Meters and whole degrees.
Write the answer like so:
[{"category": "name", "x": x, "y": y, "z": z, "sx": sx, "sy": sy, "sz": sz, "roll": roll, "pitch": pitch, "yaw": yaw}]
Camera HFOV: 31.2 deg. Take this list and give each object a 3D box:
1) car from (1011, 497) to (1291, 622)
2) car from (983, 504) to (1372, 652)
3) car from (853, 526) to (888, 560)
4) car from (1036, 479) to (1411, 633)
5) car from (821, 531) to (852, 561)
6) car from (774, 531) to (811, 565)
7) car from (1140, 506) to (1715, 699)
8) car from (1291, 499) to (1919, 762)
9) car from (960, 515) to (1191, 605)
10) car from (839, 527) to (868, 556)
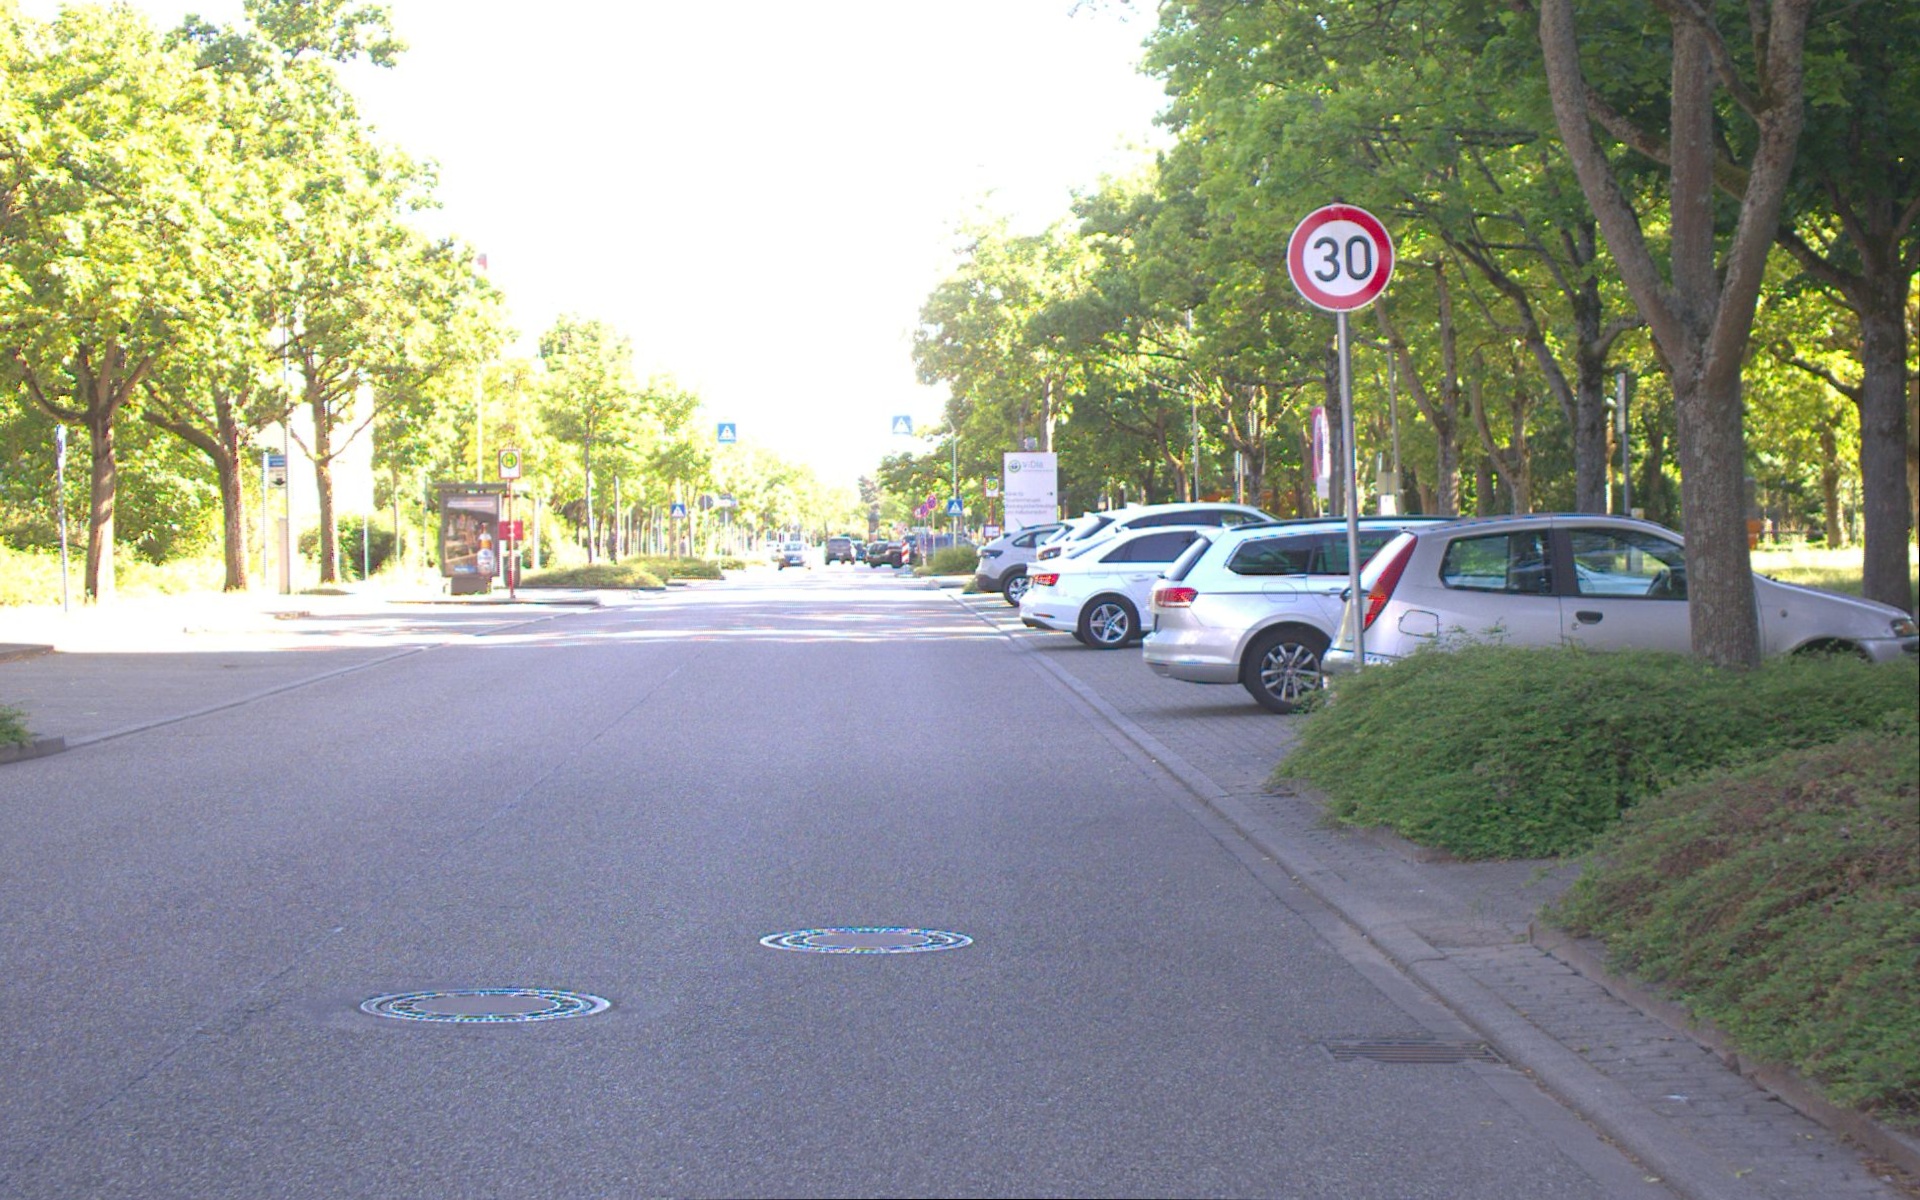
[{"category": "car", "x": 2.651, "y": -0.586, "z": 48.210, "sx": 3.688, "sy": 1.517, "sz": 1.651, "roll": -3, "pitch": 2, "yaw": -3}, {"category": "car", "x": 2.526, "y": -0.278, "z": 40.601, "sx": 4.342, "sy": 1.484, "sz": 1.738, "roll": -3, "pitch": 1, "yaw": -3}, {"category": "car", "x": -5.286, "y": -3.364, "z": 203.366, "sx": 1.993, "sy": 2.007, "sz": 4.000, "roll": 0, "pitch": 1, "yaw": -1}, {"category": "car", "x": 3.282, "y": -0.571, "z": 43.309, "sx": 4.434, "sy": 1.642, "sz": 1.816, "roll": -3, "pitch": 2, "yaw": -3}, {"category": "car", "x": -8.179, "y": -3.609, "z": 228.659, "sx": 1.993, "sy": 2.007, "sz": 4.000, "roll": 0, "pitch": 1, "yaw": -1}, {"category": "car", "x": -8.821, "y": -2.774, "z": 181.118, "sx": 1.828, "sy": 1.769, "sz": 3.740, "roll": 0, "pitch": 1, "yaw": -1}, {"category": "car", "x": 3.547, "y": 0.001, "z": 26.688, "sx": 4.275, "sy": 1.423, "sz": 1.827, "roll": 0, "pitch": 1, "yaw": 4}, {"category": "car", "x": 4.225, "y": 0.163, "z": 21.901, "sx": 3.987, "sy": 1.446, "sz": 1.717, "roll": -2, "pitch": 2, "yaw": -1}, {"category": "car", "x": 2.150, "y": -0.758, "z": 64.963, "sx": 4.164, "sy": 1.423, "sz": 2.000, "roll": -3, "pitch": 1, "yaw": -1}, {"category": "car", "x": -7.662, "y": -4.228, "z": 247.980, "sx": 1.993, "sy": 2.007, "sz": 4.000, "roll": 0, "pitch": 1, "yaw": -1}]
